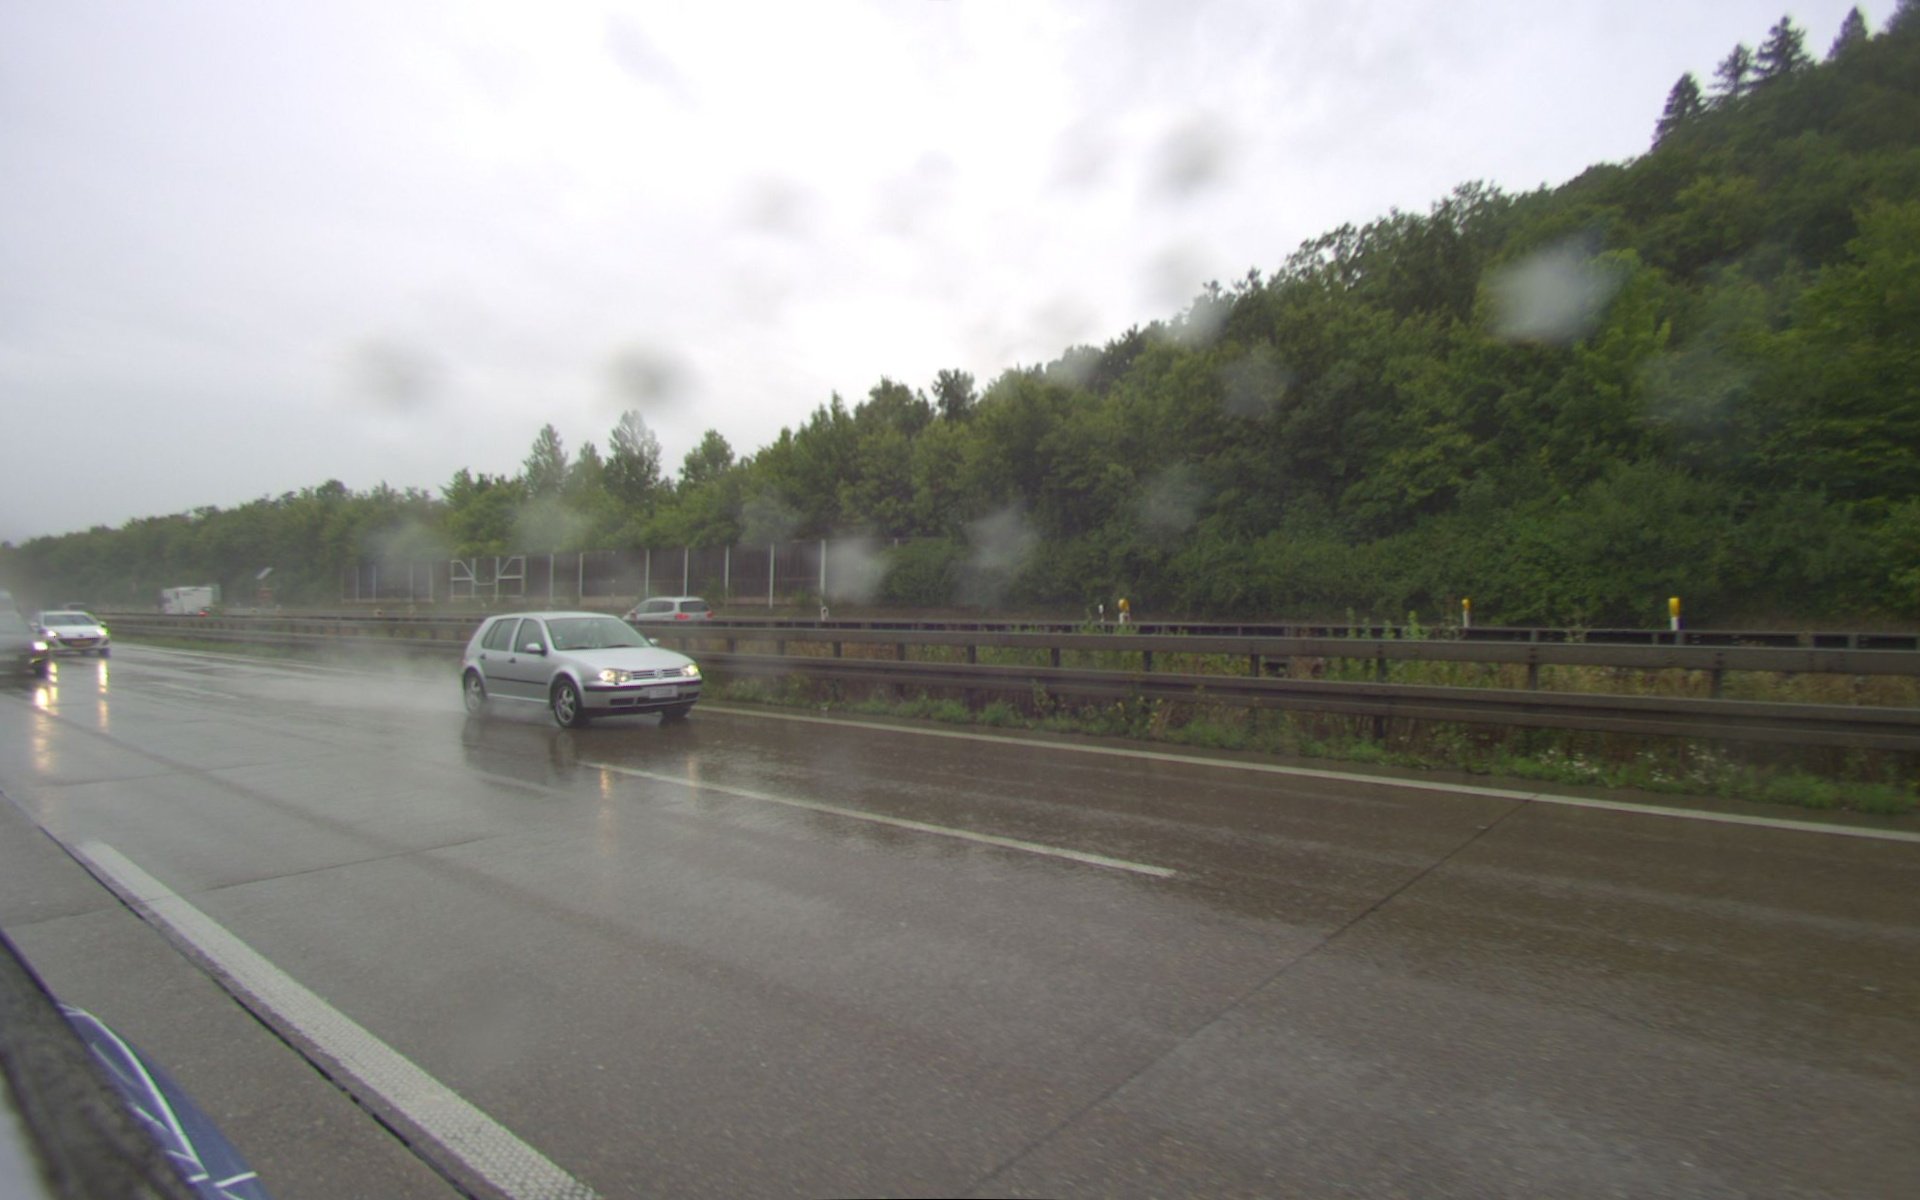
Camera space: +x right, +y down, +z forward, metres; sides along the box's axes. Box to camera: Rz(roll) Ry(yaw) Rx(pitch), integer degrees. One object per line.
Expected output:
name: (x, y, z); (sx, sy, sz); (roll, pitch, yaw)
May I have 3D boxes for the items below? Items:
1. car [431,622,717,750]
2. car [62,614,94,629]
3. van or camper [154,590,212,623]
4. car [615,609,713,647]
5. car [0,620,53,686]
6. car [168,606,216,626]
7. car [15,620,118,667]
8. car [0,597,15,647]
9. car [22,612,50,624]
car: (-5.314, 1.037, 13.665); (4.345, 1.445, 1.650); (-1, -1, 39)
car: (-87.603, 2.132, 100.488); (4.339, 1.313, 1.735); (-1, 1, 39)
van or camper: (-66.678, 0.549, 86.813); (7.494, 2.738, 2.530); (-1, -1, 41)
car: (-12.093, 1.113, 41.222); (4.515, 1.445, 1.650); (-1, -1, 41)
car: (-23.168, 1.201, 23.970); (4.515, 1.445, 1.909); (-1, -2, 41)
car: (-55.293, 1.154, 72.831); (4.339, 1.313, 1.735); (-1, 1, 39)
car: (-30.296, 1.437, 34.286); (4.514, 1.445, 1.910); (-1, -2, 40)
car: (-53.954, 1.196, 55.700); (6.398, 2.651, 2.020); (-1, -2, 40)
car: (-106.674, 2.087, 116.788); (4.339, 1.313, 1.735); (-1, 1, 39)
